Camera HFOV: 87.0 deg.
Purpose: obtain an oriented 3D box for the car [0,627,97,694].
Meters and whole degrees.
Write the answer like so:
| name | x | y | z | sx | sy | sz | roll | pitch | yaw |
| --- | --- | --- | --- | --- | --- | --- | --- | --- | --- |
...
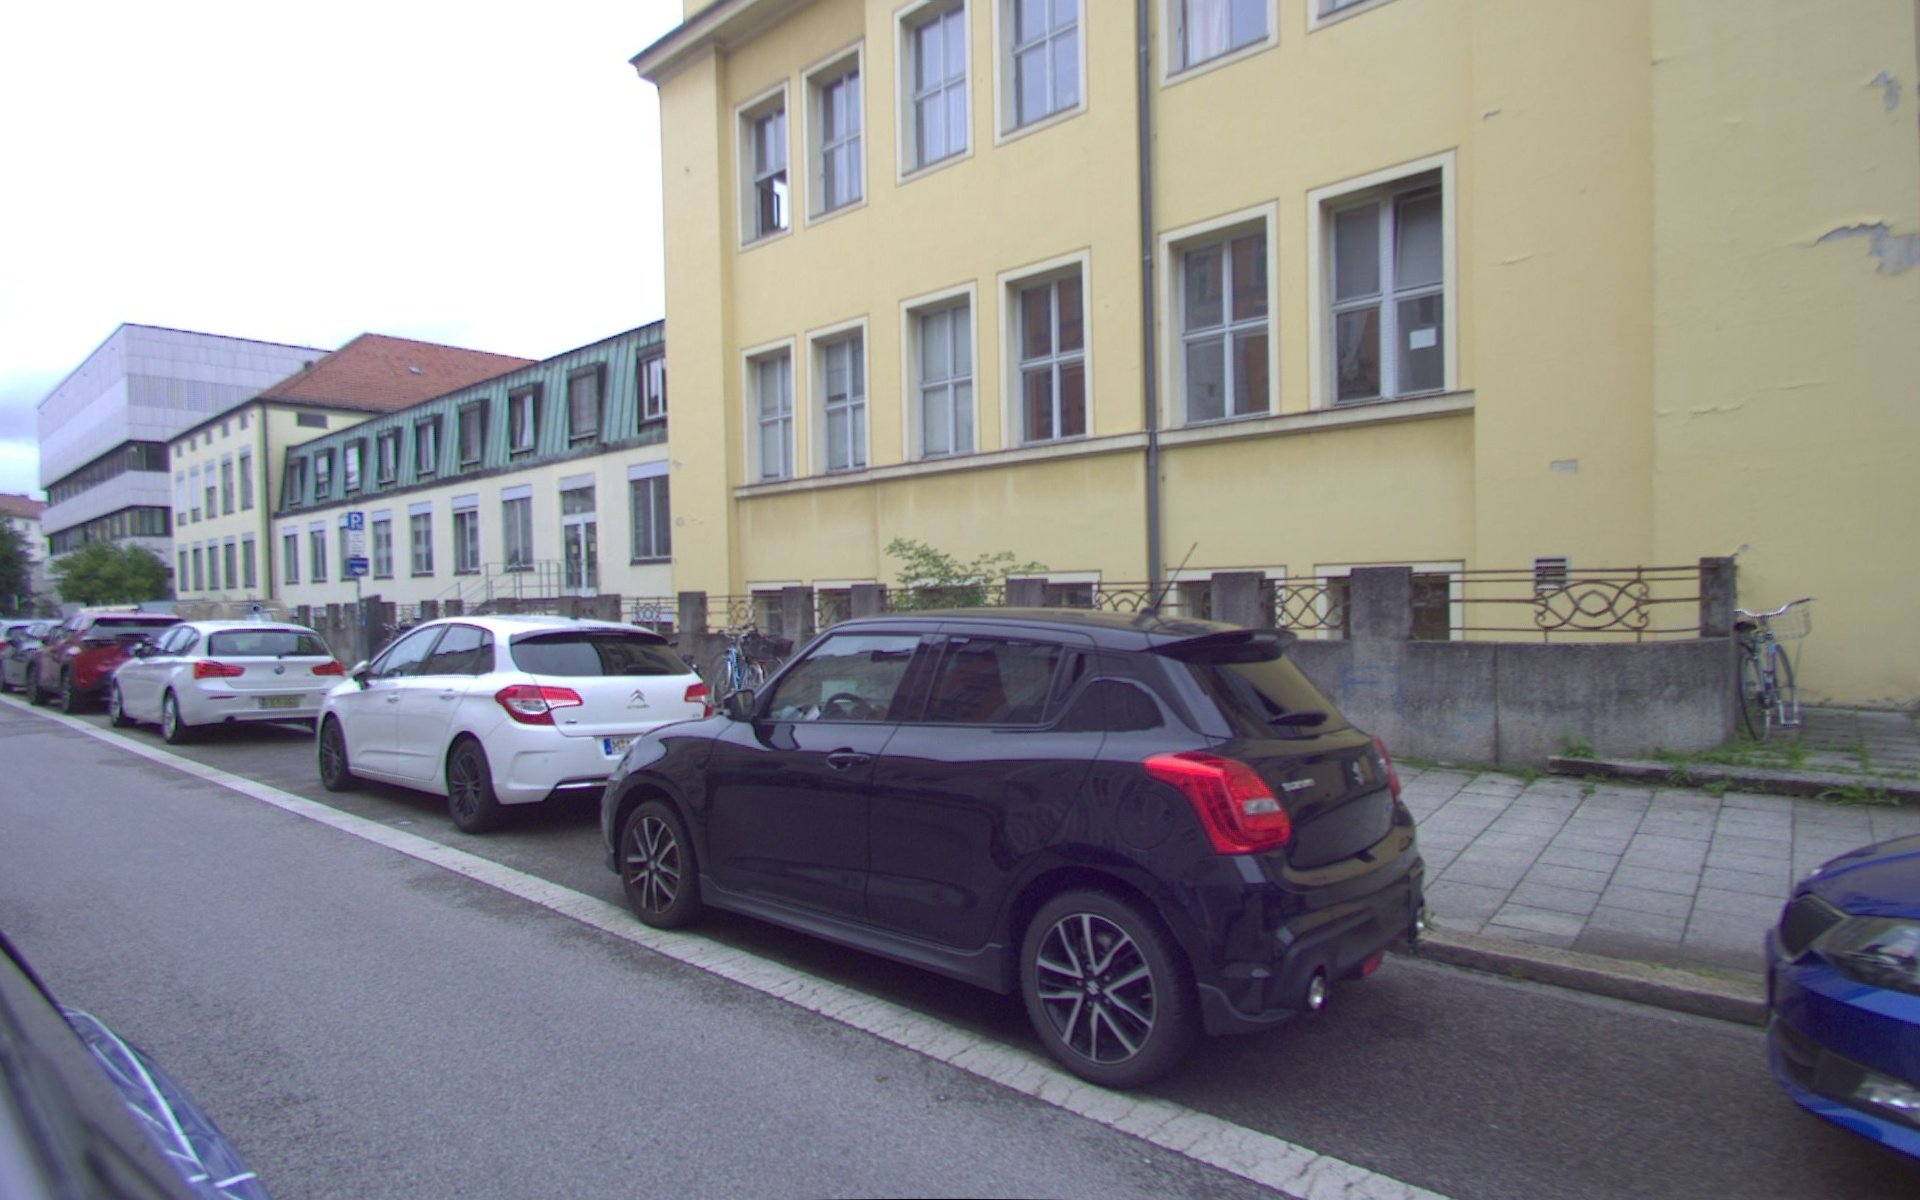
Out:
| name | x | y | z | sx | sy | sz | roll | pitch | yaw |
| --- | --- | --- | --- | --- | --- | --- | --- | --- | --- |
| car | -21.357 | 1.327 | 23.075 | 4.122 | 1.416 | 1.776 | -1 | -3 | 39 |

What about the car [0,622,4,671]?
| name | x | y | z | sx | sy | sz | roll | pitch | yaw |
| --- | --- | --- | --- | --- | --- | --- | --- | --- | --- |
| car | -32.868 | 1.495 | 33.191 | 3.863 | 1.574 | 1.679 | -1 | -3 | 39 |

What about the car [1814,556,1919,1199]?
| name | x | y | z | sx | sy | sz | roll | pitch | yaw |
| --- | --- | --- | --- | --- | --- | --- | --- | --- | --- |
| car | 3.958 | 0.660 | 1.538 | 3.968 | 1.516 | 1.663 | -1 | -2 | 39 |

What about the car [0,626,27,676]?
| name | x | y | z | sx | sy | sz | roll | pitch | yaw |
| --- | --- | --- | --- | --- | --- | --- | --- | --- | --- |
| car | -29.123 | 1.482 | 30.101 | 3.999 | 1.416 | 1.677 | -2 | -3 | 43 |

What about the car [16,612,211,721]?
| name | x | y | z | sx | sy | sz | roll | pitch | yaw |
| --- | --- | --- | --- | --- | --- | --- | --- | --- | --- |
| car | -13.899 | 1.019 | 16.546 | 3.992 | 1.578 | 1.658 | -1 | -3 | 39 |

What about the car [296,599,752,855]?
| name | x | y | z | sx | sy | sz | roll | pitch | yaw |
| --- | --- | --- | --- | --- | --- | --- | --- | --- | --- |
| car | -3.637 | 0.839 | 8.106 | 4.084 | 1.539 | 1.705 | -1 | -4 | 41 |

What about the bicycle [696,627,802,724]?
| name | x | y | z | sx | sy | sz | roll | pitch | yaw |
| --- | --- | --- | --- | --- | --- | --- | --- | --- | --- |
| bicycle | -2.697 | 0.910 | 12.801 | 0.578 | 1.085 | 1.721 | -4 | 2 | -37 |

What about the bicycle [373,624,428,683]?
| name | x | y | z | sx | sy | sz | roll | pitch | yaw |
| --- | --- | --- | --- | --- | --- | --- | --- | --- | --- |
| bicycle | -11.870 | 1.108 | 21.437 | 1.938 | 1.181 | 0.419 | -1 | 2 | 44 |

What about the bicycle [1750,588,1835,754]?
| name | x | y | z | sx | sy | sz | roll | pitch | yaw |
| --- | --- | --- | --- | --- | --- | --- | --- | --- | --- |
| bicycle | 6.219 | 0.475 | 7.576 | 0.438 | 1.059 | 1.541 | -1 | 2 | 39 |

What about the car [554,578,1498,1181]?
| name | x | y | z | sx | sy | sz | roll | pitch | yaw |
| --- | --- | --- | --- | --- | --- | --- | --- | --- | --- |
| car | -0.015 | 0.757 | 4.492 | 3.983 | 1.507 | 1.662 | -1 | -3 | 41 |

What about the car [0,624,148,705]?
| name | x | y | z | sx | sy | sz | roll | pitch | yaw |
| --- | --- | --- | --- | --- | --- | --- | --- | --- | --- |
| car | -17.481 | 1.192 | 19.670 | 3.983 | 1.416 | 1.659 | -1 | -3 | 37 |

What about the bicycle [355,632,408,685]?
| name | x | y | z | sx | sy | sz | roll | pitch | yaw |
| --- | --- | --- | --- | --- | --- | --- | --- | --- | --- |
| bicycle | -12.002 | 1.195 | 20.970 | 1.741 | 1.002 | 0.450 | -1 | 2 | 44 |

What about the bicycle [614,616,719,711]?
| name | x | y | z | sx | sy | sz | roll | pitch | yaw |
| --- | --- | --- | --- | --- | --- | --- | --- | --- | --- |
| bicycle | -4.085 | 0.849 | 14.021 | 1.717 | 1.206 | 0.579 | -1 | 2 | 44 |

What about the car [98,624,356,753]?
| name | x | y | z | sx | sy | sz | roll | pitch | yaw |
| --- | --- | --- | --- | --- | --- | --- | --- | --- | --- |
| car | -9.496 | 1.034 | 13.006 | 3.992 | 1.408 | 1.658 | -1 | -3 | 39 |
